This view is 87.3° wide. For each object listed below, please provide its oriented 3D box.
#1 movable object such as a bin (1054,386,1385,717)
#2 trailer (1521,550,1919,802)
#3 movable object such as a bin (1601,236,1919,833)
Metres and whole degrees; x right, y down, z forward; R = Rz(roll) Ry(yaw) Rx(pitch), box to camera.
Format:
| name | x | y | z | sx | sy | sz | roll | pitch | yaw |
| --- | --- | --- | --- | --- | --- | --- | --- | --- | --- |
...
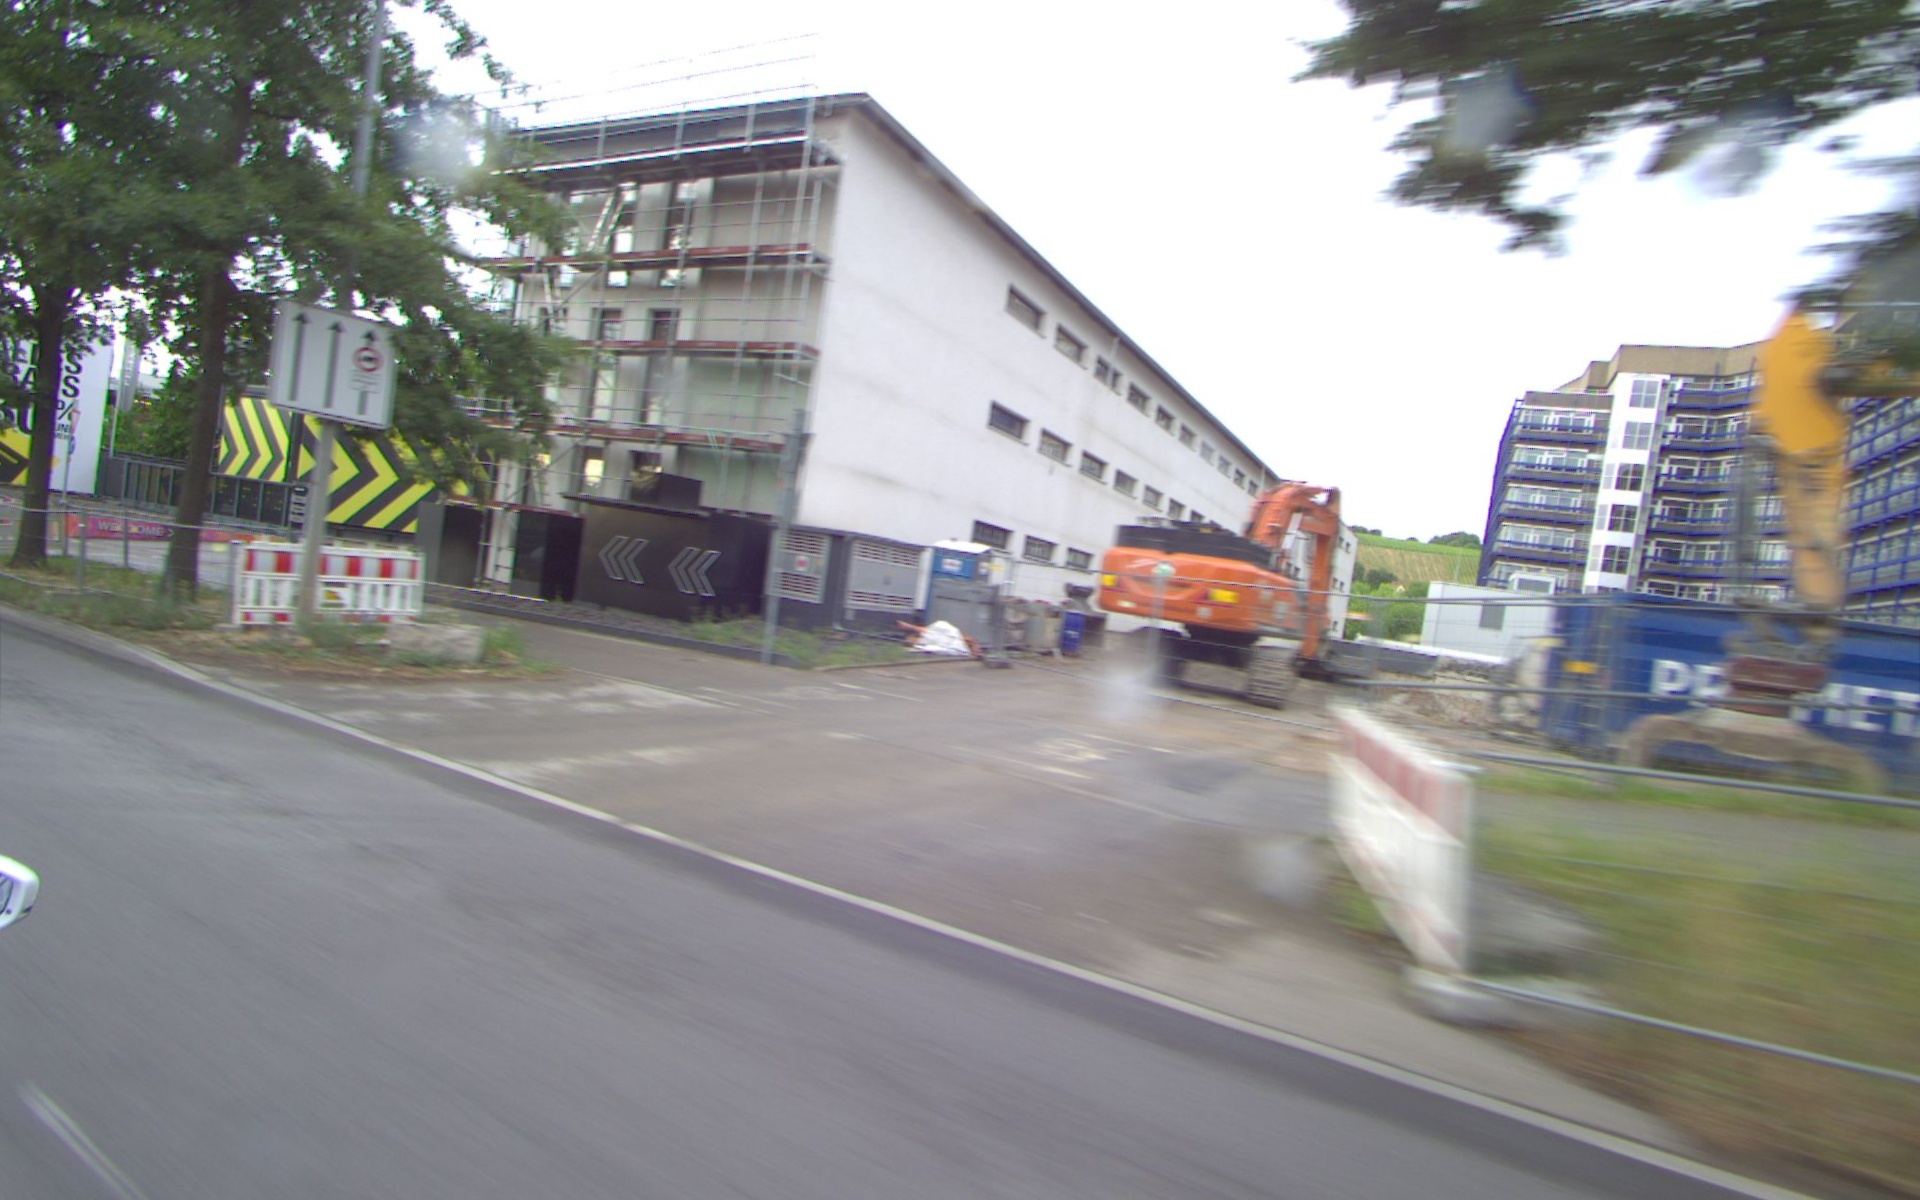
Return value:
| name | x | y | z | sx | sy | sz | roll | pitch | yaw |
| --- | --- | --- | --- | --- | --- | --- | --- | --- | --- |
| movable object such as a bin | 6.487 | -0.580 | 22.348 | 3.725 | 5.326 | 12.160 | 6 | 0 | 29 |
| trailer | 13.278 | 1.317 | 15.532 | 7.355 | 3.078 | 2.649 | 7 | -1 | 7 |
| movable object such as a bin | 11.812 | -0.328 | 9.963 | 8.619 | 5.751 | 3.296 | 6 | -1 | 32 |
